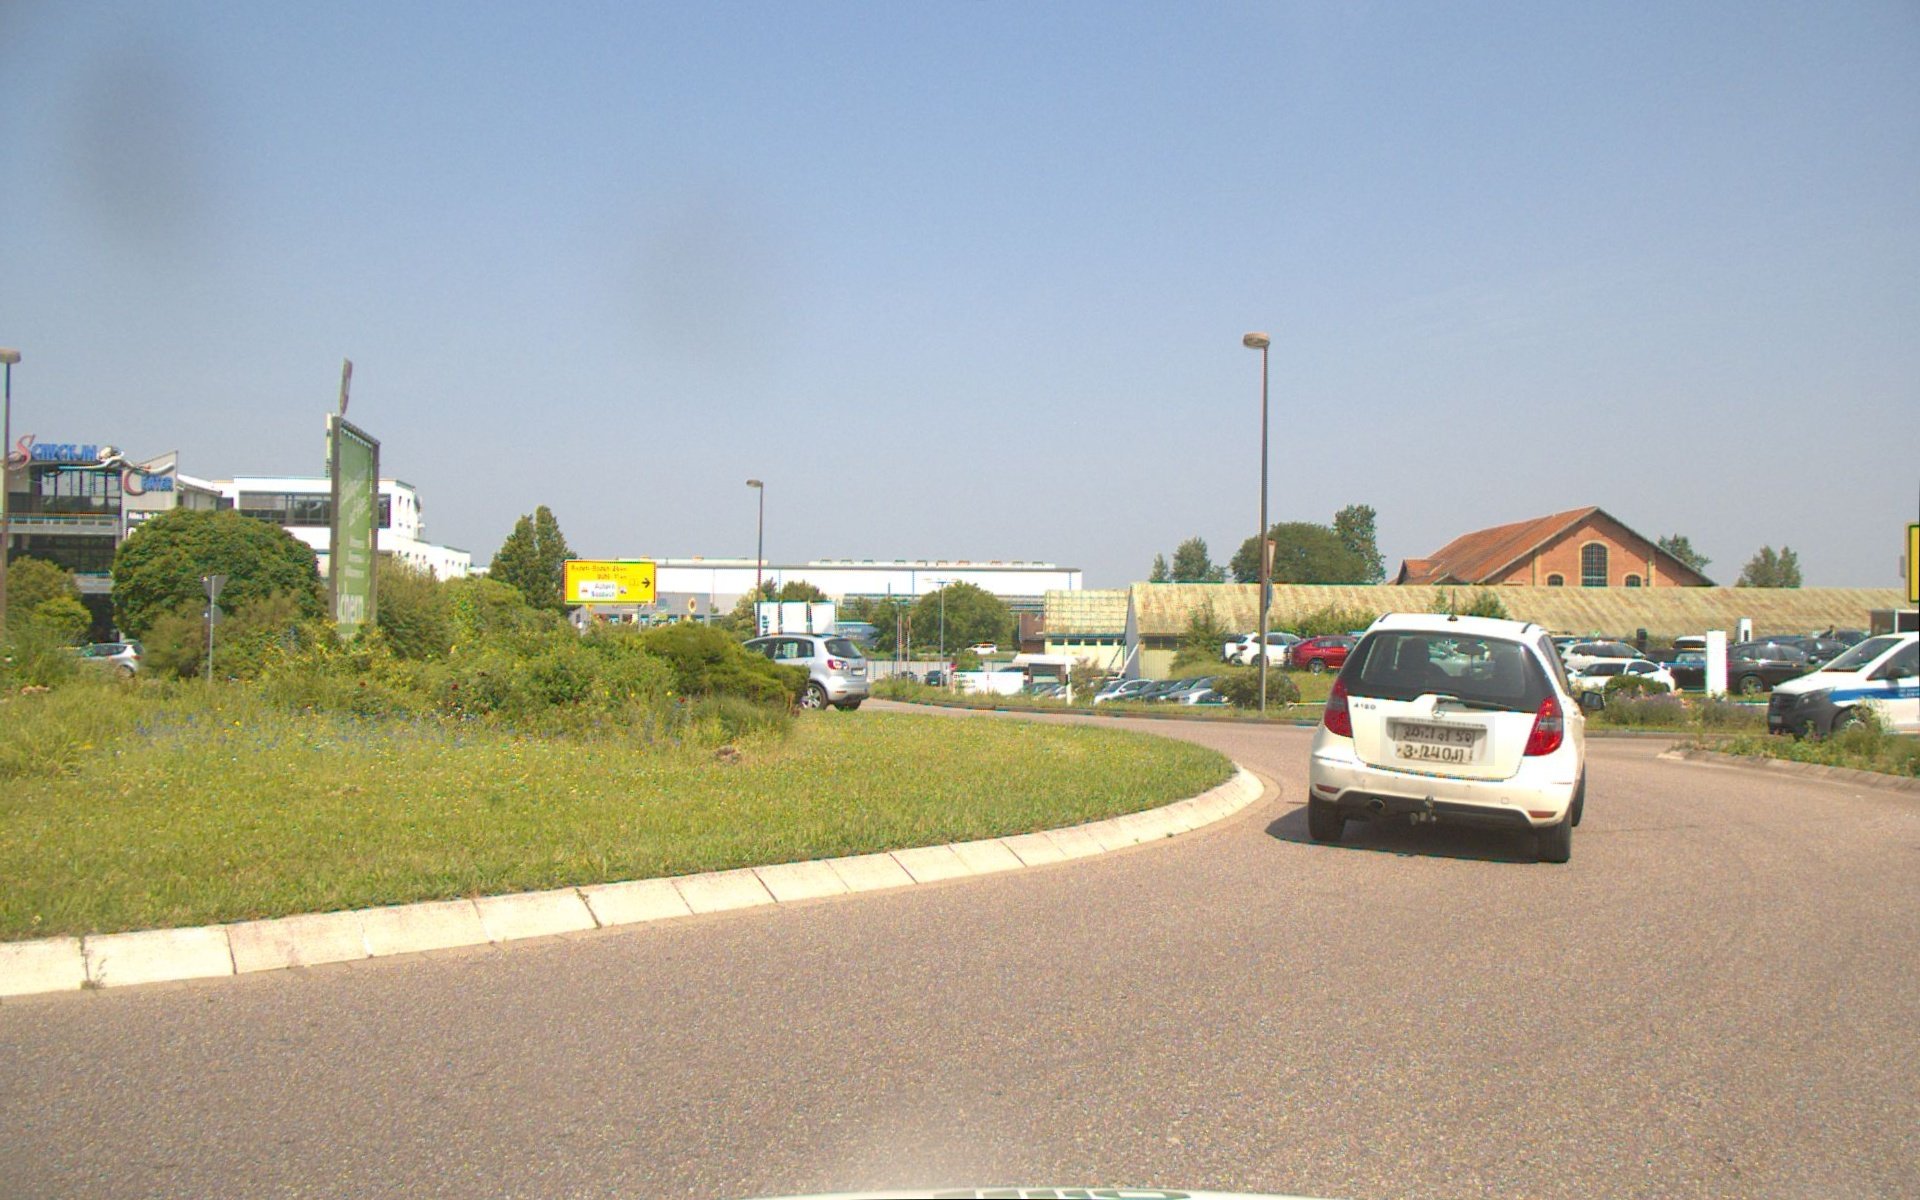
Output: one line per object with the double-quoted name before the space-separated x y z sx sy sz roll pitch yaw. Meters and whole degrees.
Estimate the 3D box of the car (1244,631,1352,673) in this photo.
"car" 14.684 2.270 72.062 4.361 1.778 1.839 0 -2 1

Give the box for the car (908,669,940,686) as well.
"car" -3.197 6.963 148.069 1.951 1.423 4.002 1 -3 13

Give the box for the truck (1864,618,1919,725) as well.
"truck" 26.580 1.824 42.530 5.489 2.712 1.951 0 -1 6

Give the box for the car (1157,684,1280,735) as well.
"car" 9.914 4.211 63.509 4.183 1.779 1.989 -1 -4 -18

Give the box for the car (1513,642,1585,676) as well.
"car" 28.207 2.815 79.343 2.142 1.624 4.305 0 -2 3

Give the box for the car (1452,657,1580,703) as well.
"car" 19.461 2.779 58.038 3.910 1.553 1.951 0 -1 7

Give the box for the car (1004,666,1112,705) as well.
"car" 4.429 3.897 74.987 4.418 1.669 2.133 2 -4 -22

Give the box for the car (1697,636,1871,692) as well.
"car" 25.255 1.965 50.800 4.321 1.526 1.949 -2 -3 1

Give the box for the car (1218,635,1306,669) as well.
"car" 13.980 2.394 76.706 3.795 1.560 1.768 0 -2 1

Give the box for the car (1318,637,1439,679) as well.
"car" 16.822 2.323 66.637 4.361 1.663 1.949 0 -2 1

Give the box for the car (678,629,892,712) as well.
"car" -3.585 1.454 34.102 3.986 1.557 1.786 1 -3 16

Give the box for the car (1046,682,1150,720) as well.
"car" 5.863 4.293 70.293 3.932 1.579 1.986 1 -4 -23

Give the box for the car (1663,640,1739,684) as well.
"car" 28.346 2.322 63.212 1.626 1.614 4.247 -1 -2 39

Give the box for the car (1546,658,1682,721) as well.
"car" 19.631 2.628 49.544 4.620 1.598 1.743 -2 0 -39

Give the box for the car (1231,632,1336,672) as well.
"car" 14.509 2.351 74.377 4.361 1.778 1.839 0 -2 1

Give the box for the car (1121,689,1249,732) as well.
"car" 8.986 4.423 66.165 4.693 1.535 1.989 0 -4 -19

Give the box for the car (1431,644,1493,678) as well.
"car" 24.069 2.913 79.430 1.876 1.624 4.305 0 -2 3

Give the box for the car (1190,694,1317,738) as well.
"car" 10.784 4.260 60.815 4.182 1.491 1.864 0 -4 -18

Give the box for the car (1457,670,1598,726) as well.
"car" 17.705 3.010 51.520 4.521 1.598 1.748 0 -3 -33

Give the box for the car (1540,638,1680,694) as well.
"car" 21.843 2.209 55.667 3.913 1.781 1.949 -1 -1 1

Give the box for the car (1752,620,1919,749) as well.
"car" 15.757 1.404 26.639 5.102 1.972 1.862 1 -3 7

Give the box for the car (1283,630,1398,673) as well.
"car" 15.947 2.168 69.466 4.361 1.778 1.949 0 -2 1

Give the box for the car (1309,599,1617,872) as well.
"car" 3.880 0.860 12.318 1.745 1.631 3.891 2 0 23

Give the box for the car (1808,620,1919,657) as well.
"car" 39.142 1.663 71.059 4.359 1.549 1.951 0 -2 5

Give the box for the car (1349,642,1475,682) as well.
"car" 17.484 2.393 64.133 4.361 1.526 1.949 0 -1 1
